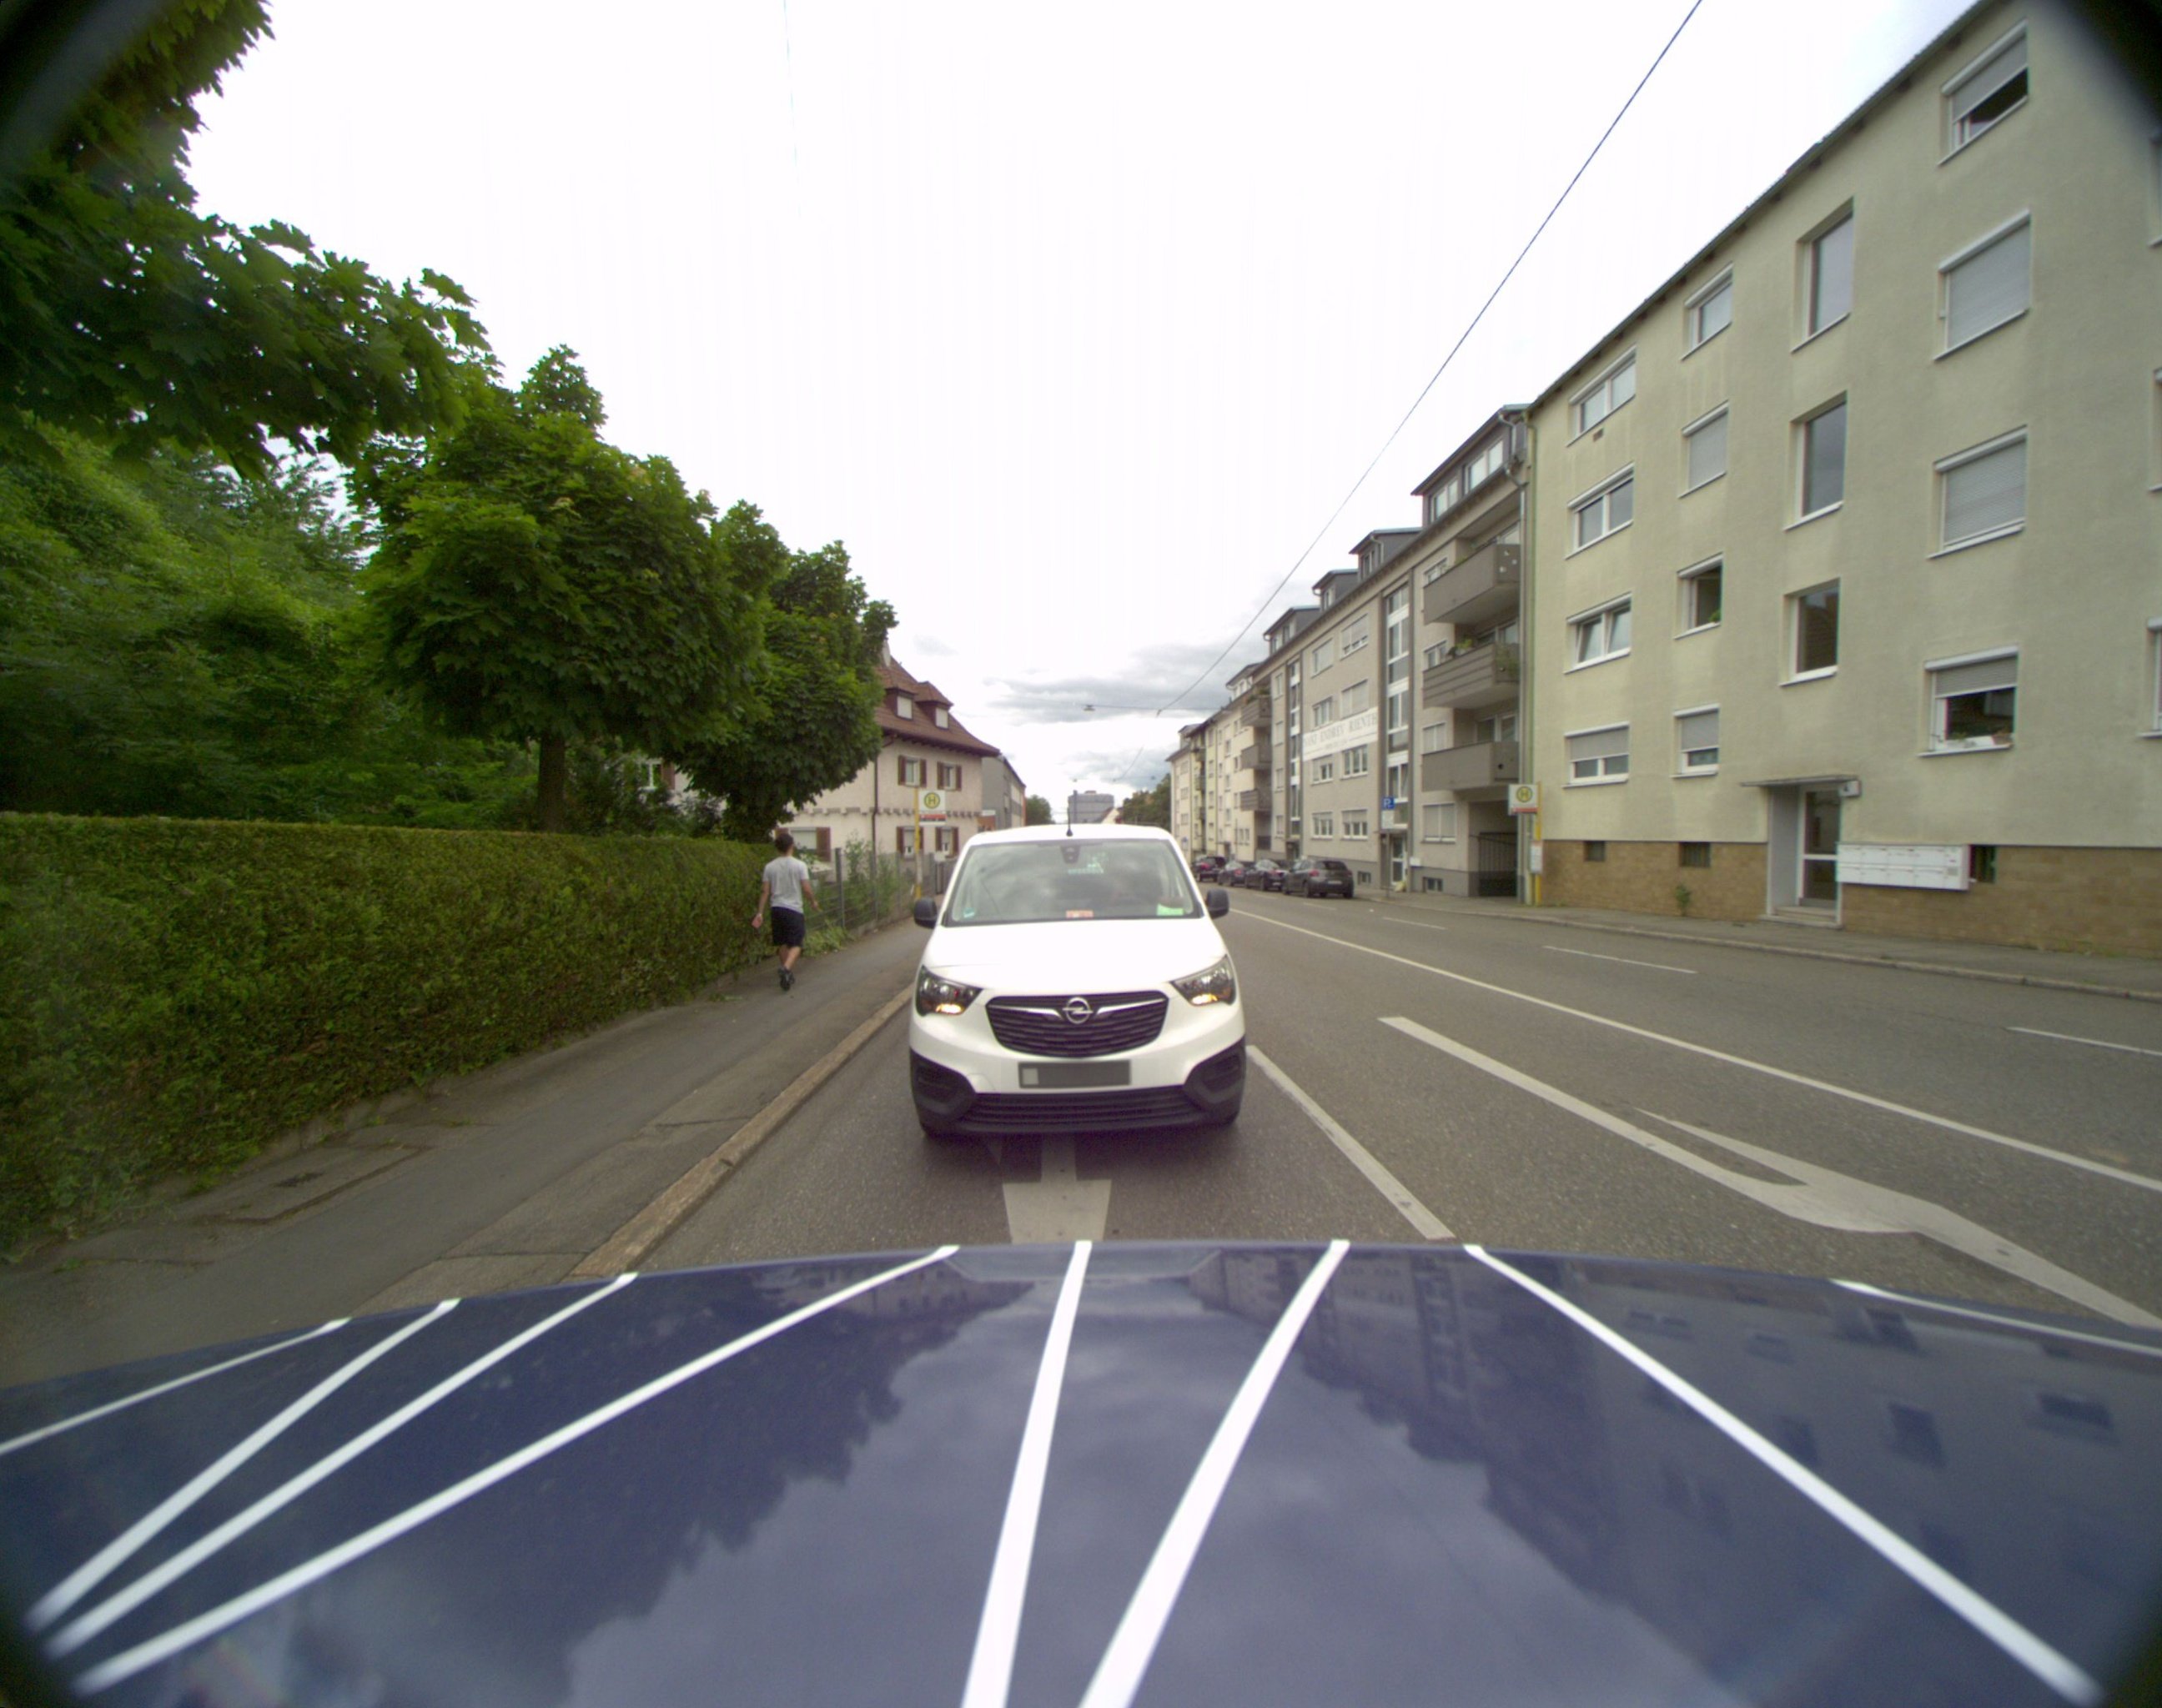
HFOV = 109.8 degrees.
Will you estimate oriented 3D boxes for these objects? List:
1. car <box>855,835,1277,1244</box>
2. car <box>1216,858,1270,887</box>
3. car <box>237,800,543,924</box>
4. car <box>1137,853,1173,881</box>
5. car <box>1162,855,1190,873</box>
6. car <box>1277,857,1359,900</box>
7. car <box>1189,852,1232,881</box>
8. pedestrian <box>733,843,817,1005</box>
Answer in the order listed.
[{"bbox_3d":[-0.121,0.805,5.384,1.803,1.736,3.999,-3,1,-2],"label":"car"},{"bbox_3d":[8.431,0.927,39.885,1.773,1.397,4.306,0,0,-3],"label":"car"},{"bbox_3d":[-12.925,0.122,14.416,1.994,2.002,4.008,-1,0,40],"label":"car"},{"bbox_3d":[4.715,0.779,48.791,1.713,1.608,3.999,3,0,-2],"label":"car"},{"bbox_3d":[8.197,0.856,65.973,1.875,1.372,4.307,2,0,0],"label":"car"},{"bbox_3d":[8.890,0.876,28.847,1.773,1.428,3.800,2,0,-2],"label":"car"},{"bbox_3d":[8.326,0.782,49.163,1.875,1.743,4.306,2,0,-2],"label":"car"},{"bbox_3d":[-3.384,0.756,8.441,0.695,1.728,0.467,2,1,-1],"label":"pedestrian"}]
